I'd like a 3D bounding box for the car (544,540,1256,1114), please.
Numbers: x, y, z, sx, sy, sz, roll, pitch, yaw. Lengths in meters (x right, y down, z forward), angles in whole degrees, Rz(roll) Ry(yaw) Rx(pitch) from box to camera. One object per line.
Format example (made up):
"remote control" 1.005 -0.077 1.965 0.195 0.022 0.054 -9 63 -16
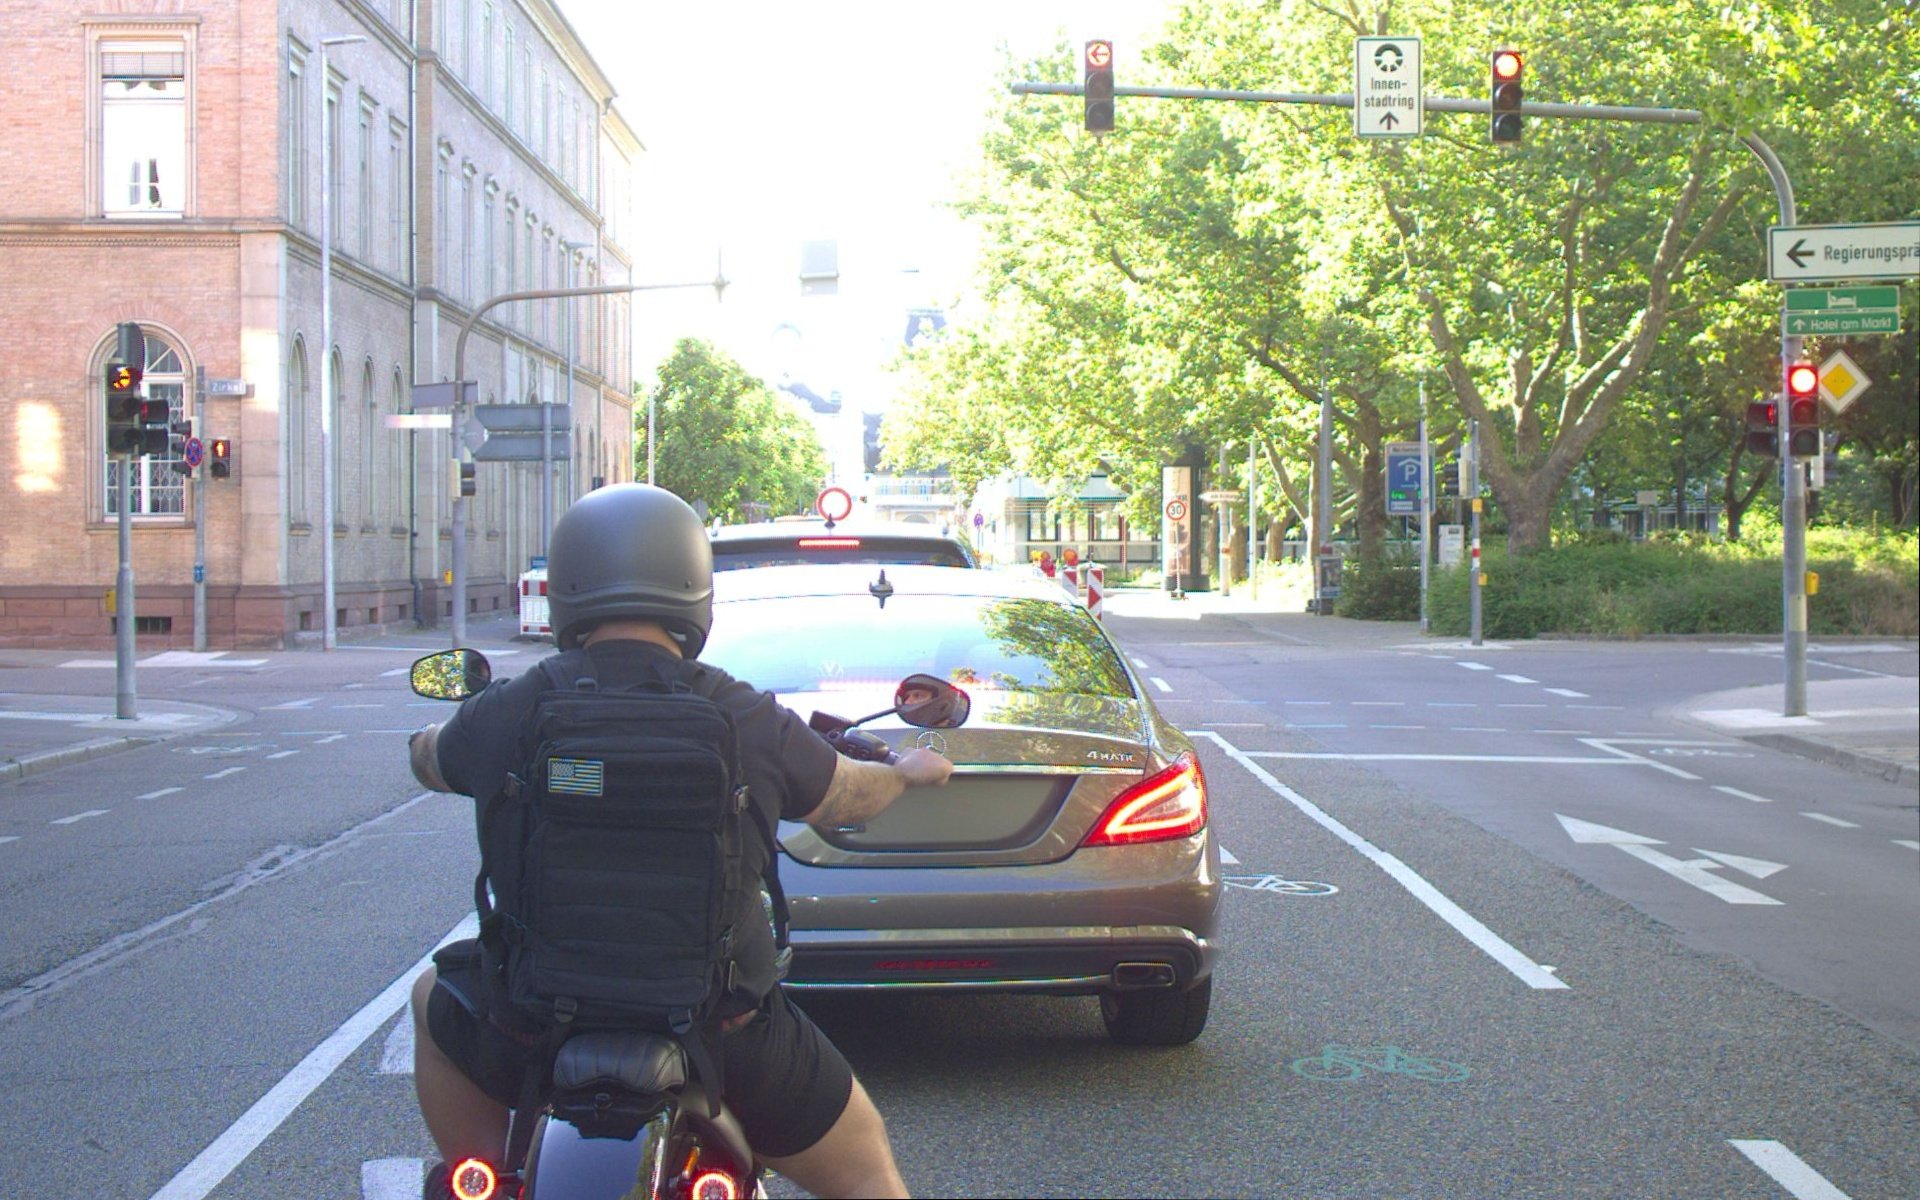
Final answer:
"car" -0.405 0.572 11.132 1.824 1.481 4.334 1 1 -7

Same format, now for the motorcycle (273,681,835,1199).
"motorcycle" -0.561 0.784 5.427 0.660 1.236 2.058 1 1 -1

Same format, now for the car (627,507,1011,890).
"car" -0.636 0.408 16.978 1.651 1.646 4.000 1 1 -1

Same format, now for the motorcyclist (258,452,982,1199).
"motorcyclist" -0.482 0.599 5.332 0.990 1.605 1.120 1 0 -1
